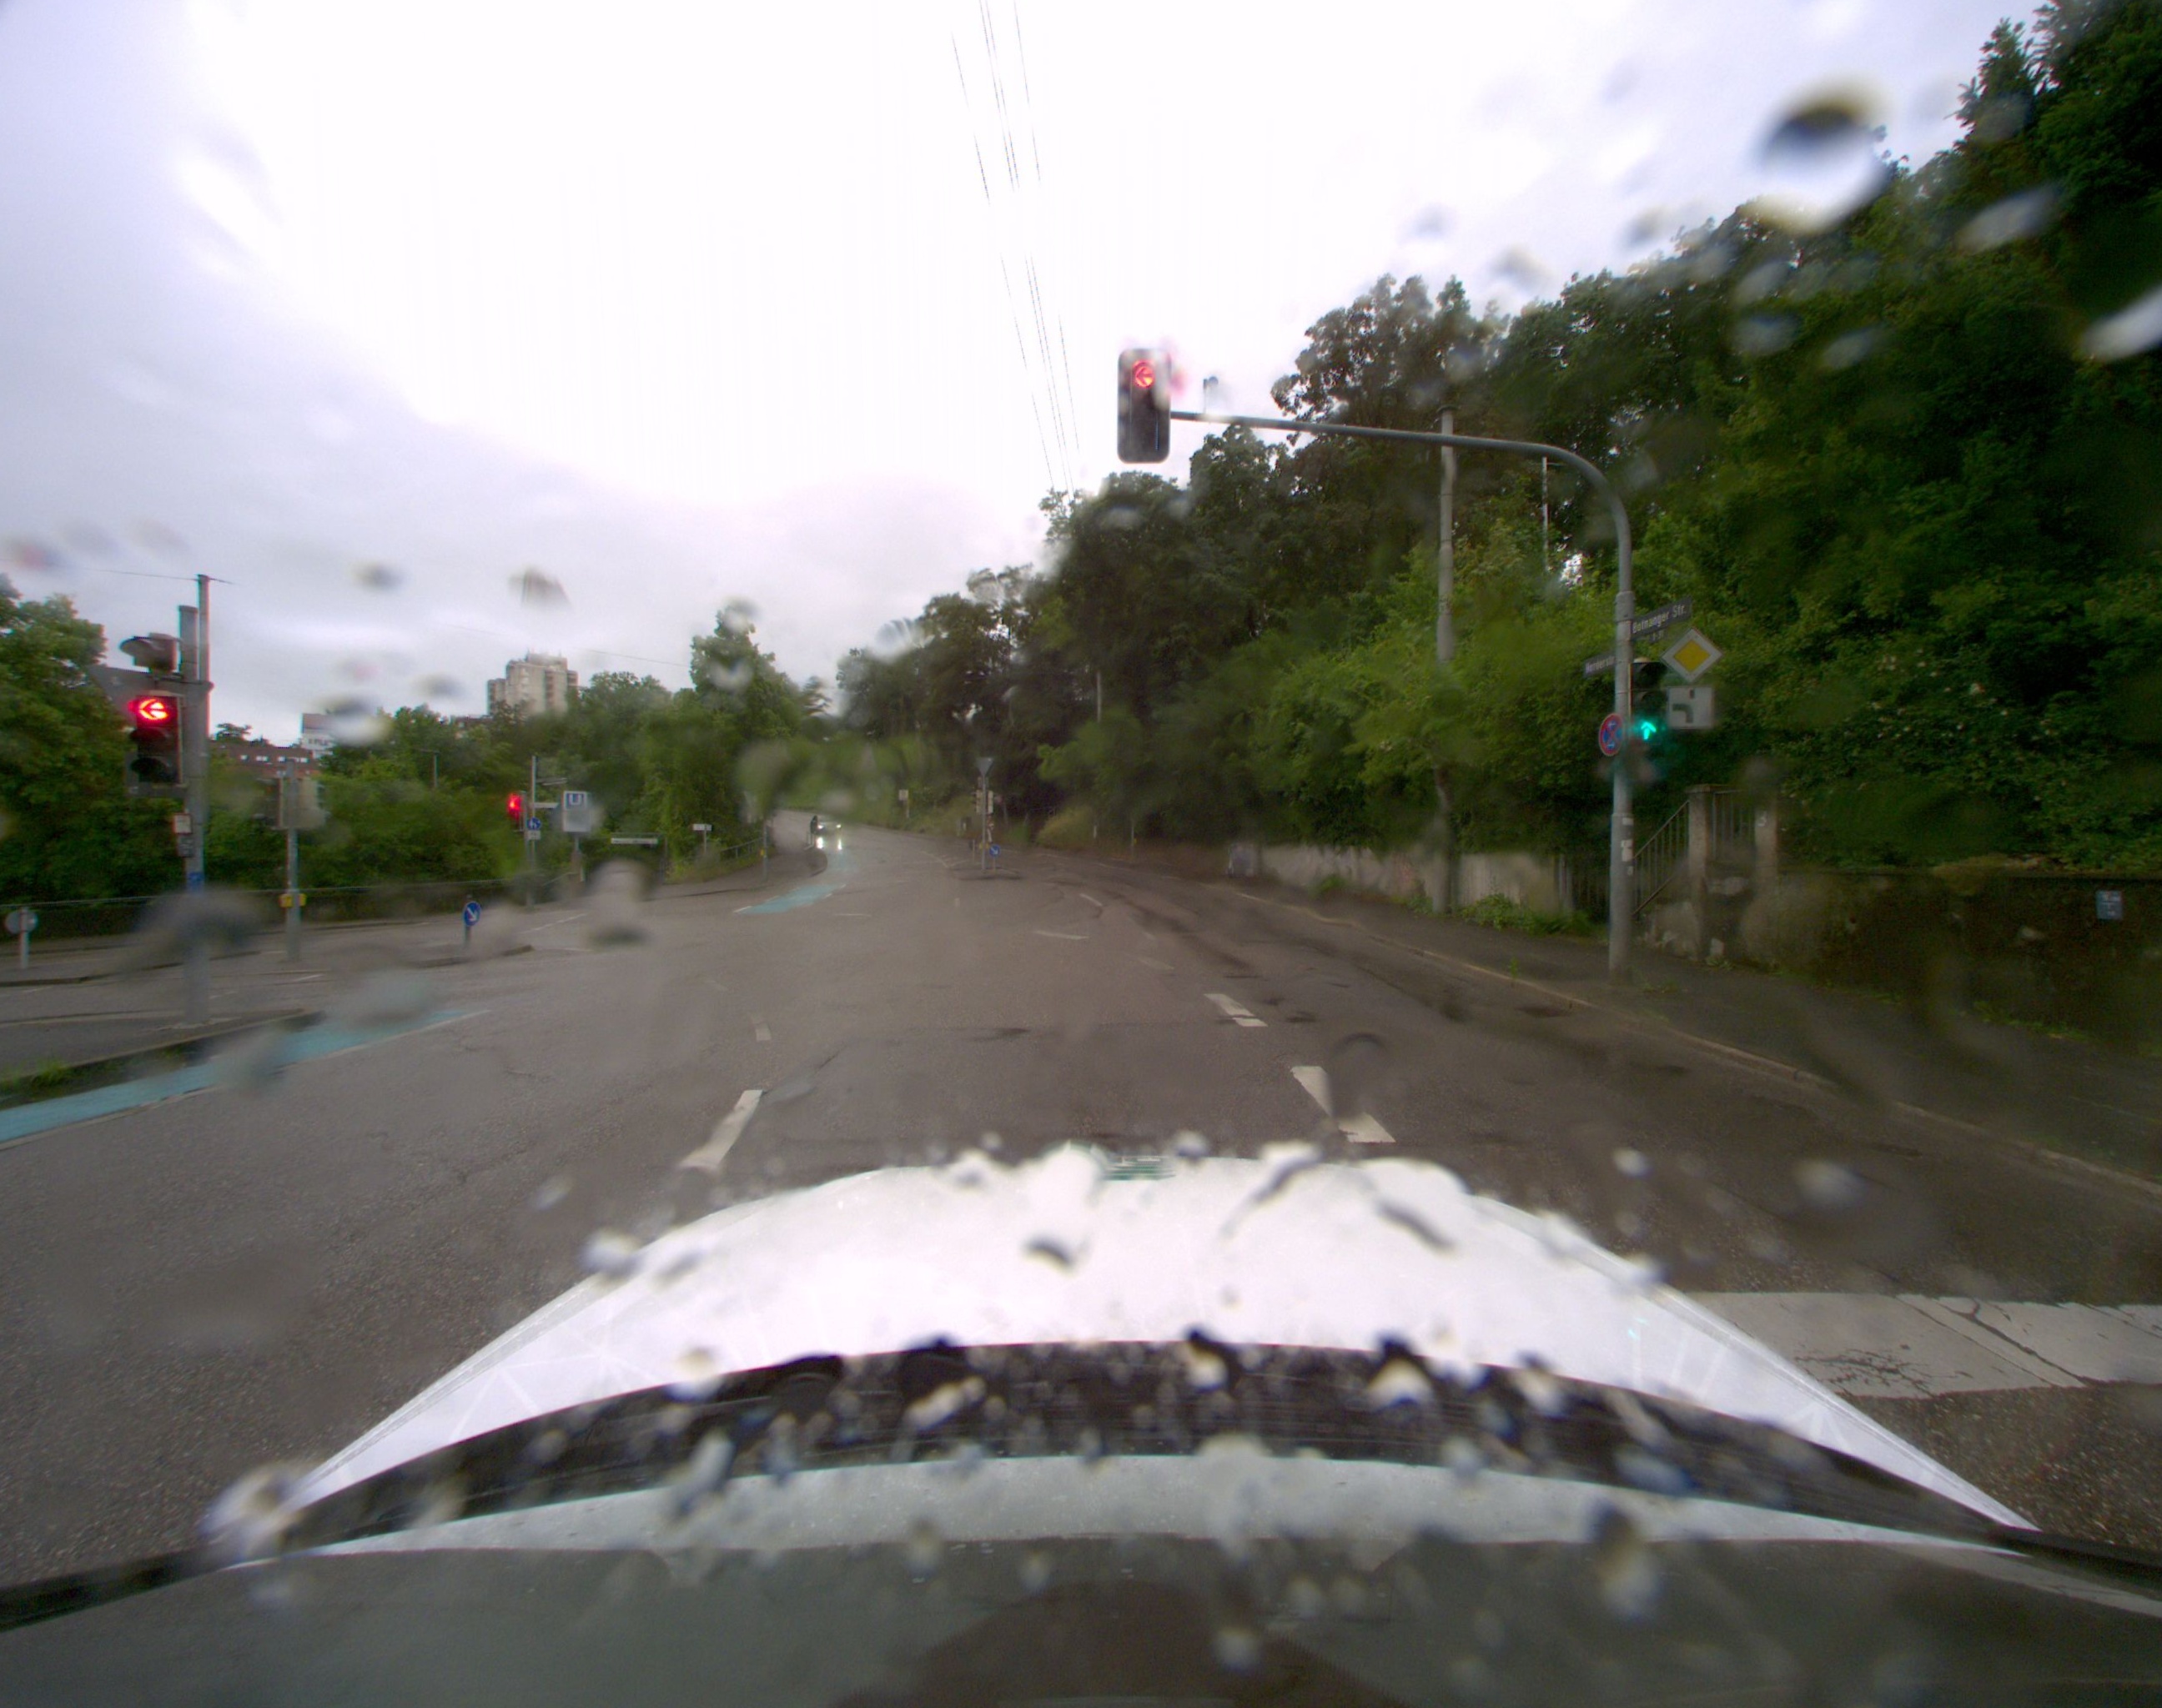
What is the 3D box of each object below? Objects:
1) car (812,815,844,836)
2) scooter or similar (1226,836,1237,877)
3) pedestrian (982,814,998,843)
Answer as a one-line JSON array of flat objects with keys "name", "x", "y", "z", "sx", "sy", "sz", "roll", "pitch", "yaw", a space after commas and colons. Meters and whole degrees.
[{"name": "car", "x": -19.727, "y": -2.228, "z": 63.386, "sx": 1.964, "sy": 1.511, "sz": 4.372, "roll": 0, "pitch": 3, "yaw": -22}, {"name": "scooter or similar", "x": 4.904, "y": 0.066, "z": 26.501, "sx": 0.320, "sy": 1.279, "sz": 0.754, "roll": -1, "pitch": 2, "yaw": 10}, {"name": "pedestrian", "x": -5.680, "y": -1.595, "z": 50.918, "sx": 0.882, "sy": 1.736, "sz": 0.861, "roll": 0, "pitch": -1, "yaw": -15}]
